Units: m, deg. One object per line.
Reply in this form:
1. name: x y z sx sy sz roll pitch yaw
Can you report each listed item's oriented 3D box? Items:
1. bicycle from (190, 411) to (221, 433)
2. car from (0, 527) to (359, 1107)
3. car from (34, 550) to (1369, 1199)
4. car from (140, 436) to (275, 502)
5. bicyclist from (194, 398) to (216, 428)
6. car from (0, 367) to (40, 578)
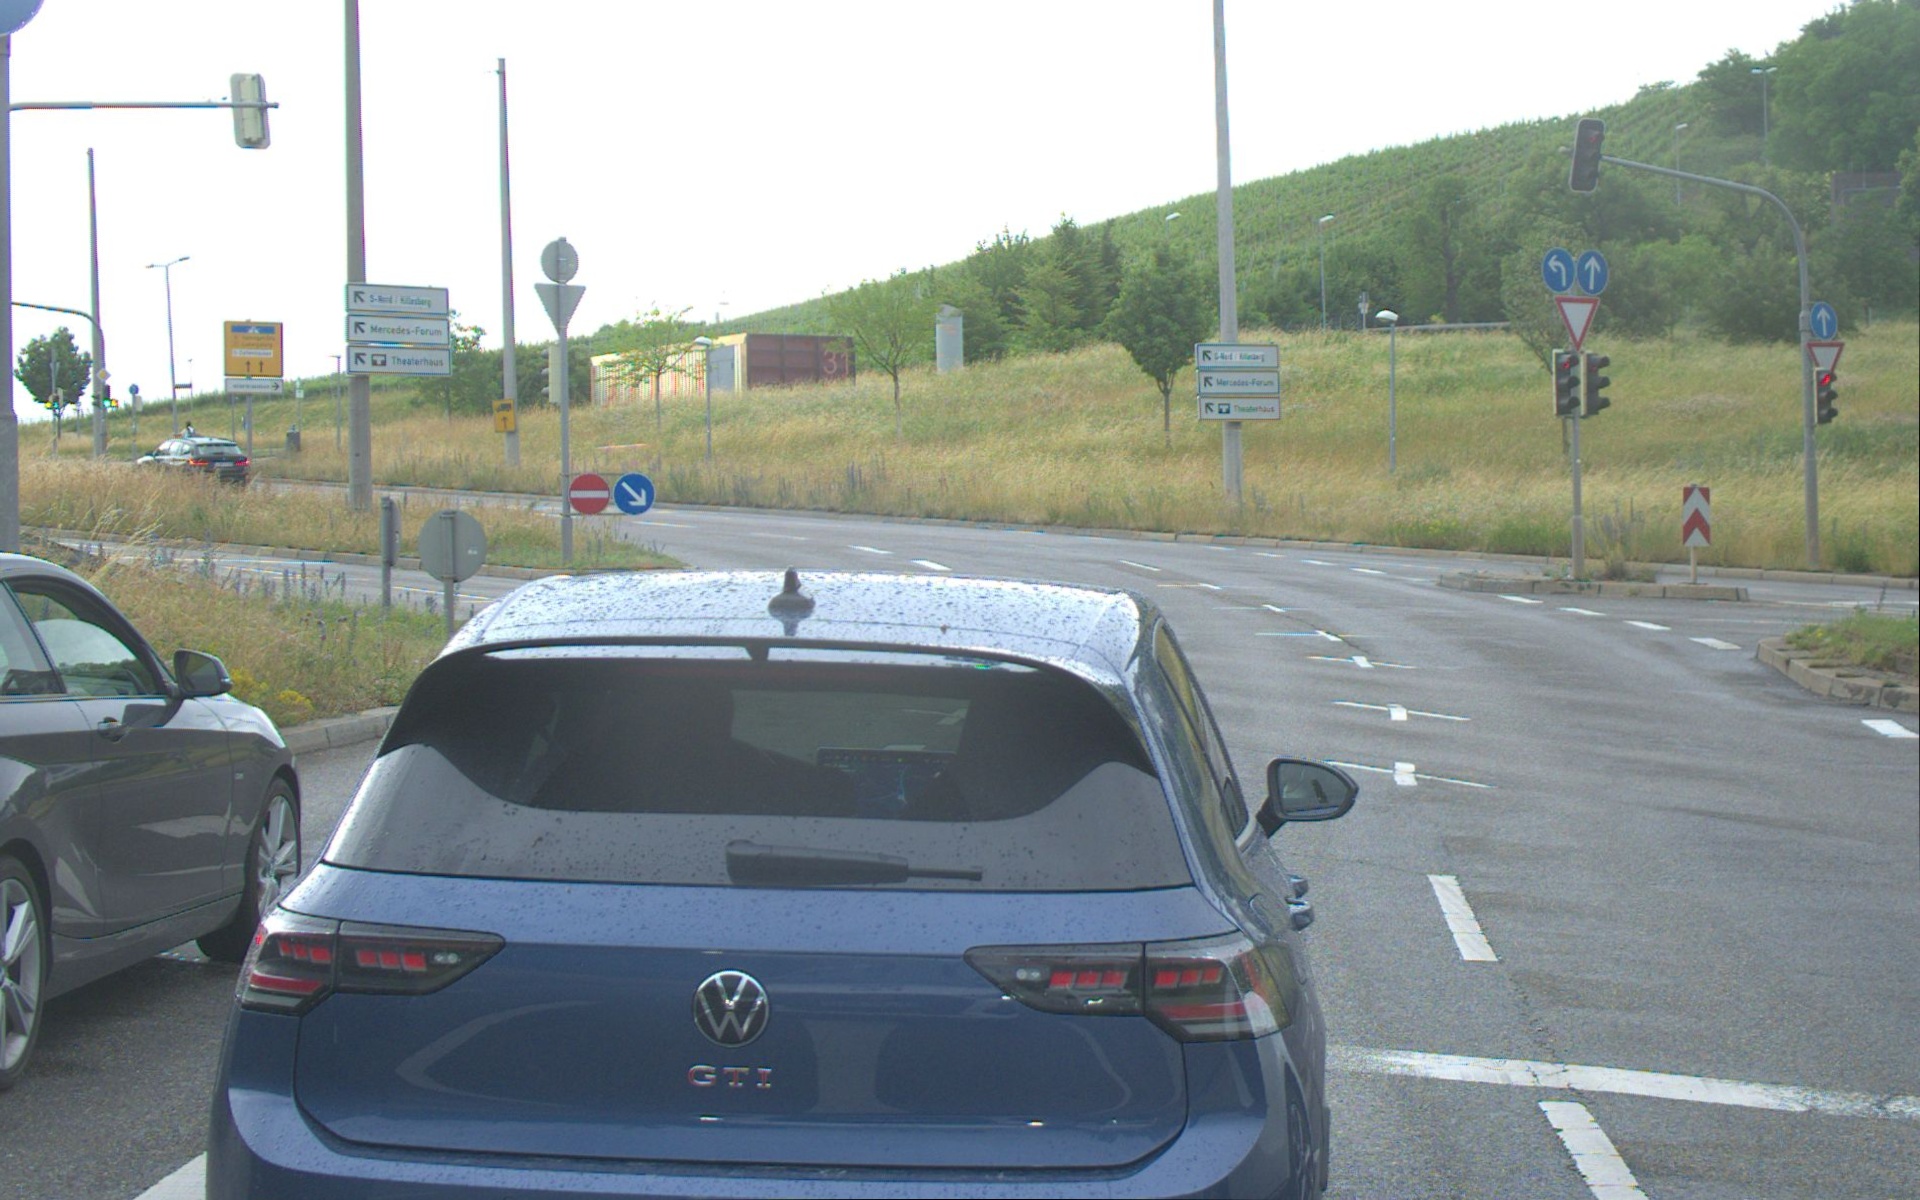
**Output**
1. bicycle: -27.056 -6.384 123.213 0.518 0.772 1.621 1 2 -33
2. car: -3.143 0.517 10.098 1.703 1.454 4.114 0 1 5
3. car: -0.209 0.644 6.566 1.825 1.455 3.808 1 1 5
4. car: -19.638 -3.426 89.580 1.993 1.612 4.852 1 2 -30
5. bicyclist: -27.068 -6.689 123.251 0.523 1.043 0.580 3 1 -32
6. car: -10.124 -1.033 28.885 1.819 1.843 4.691 1 3 30
